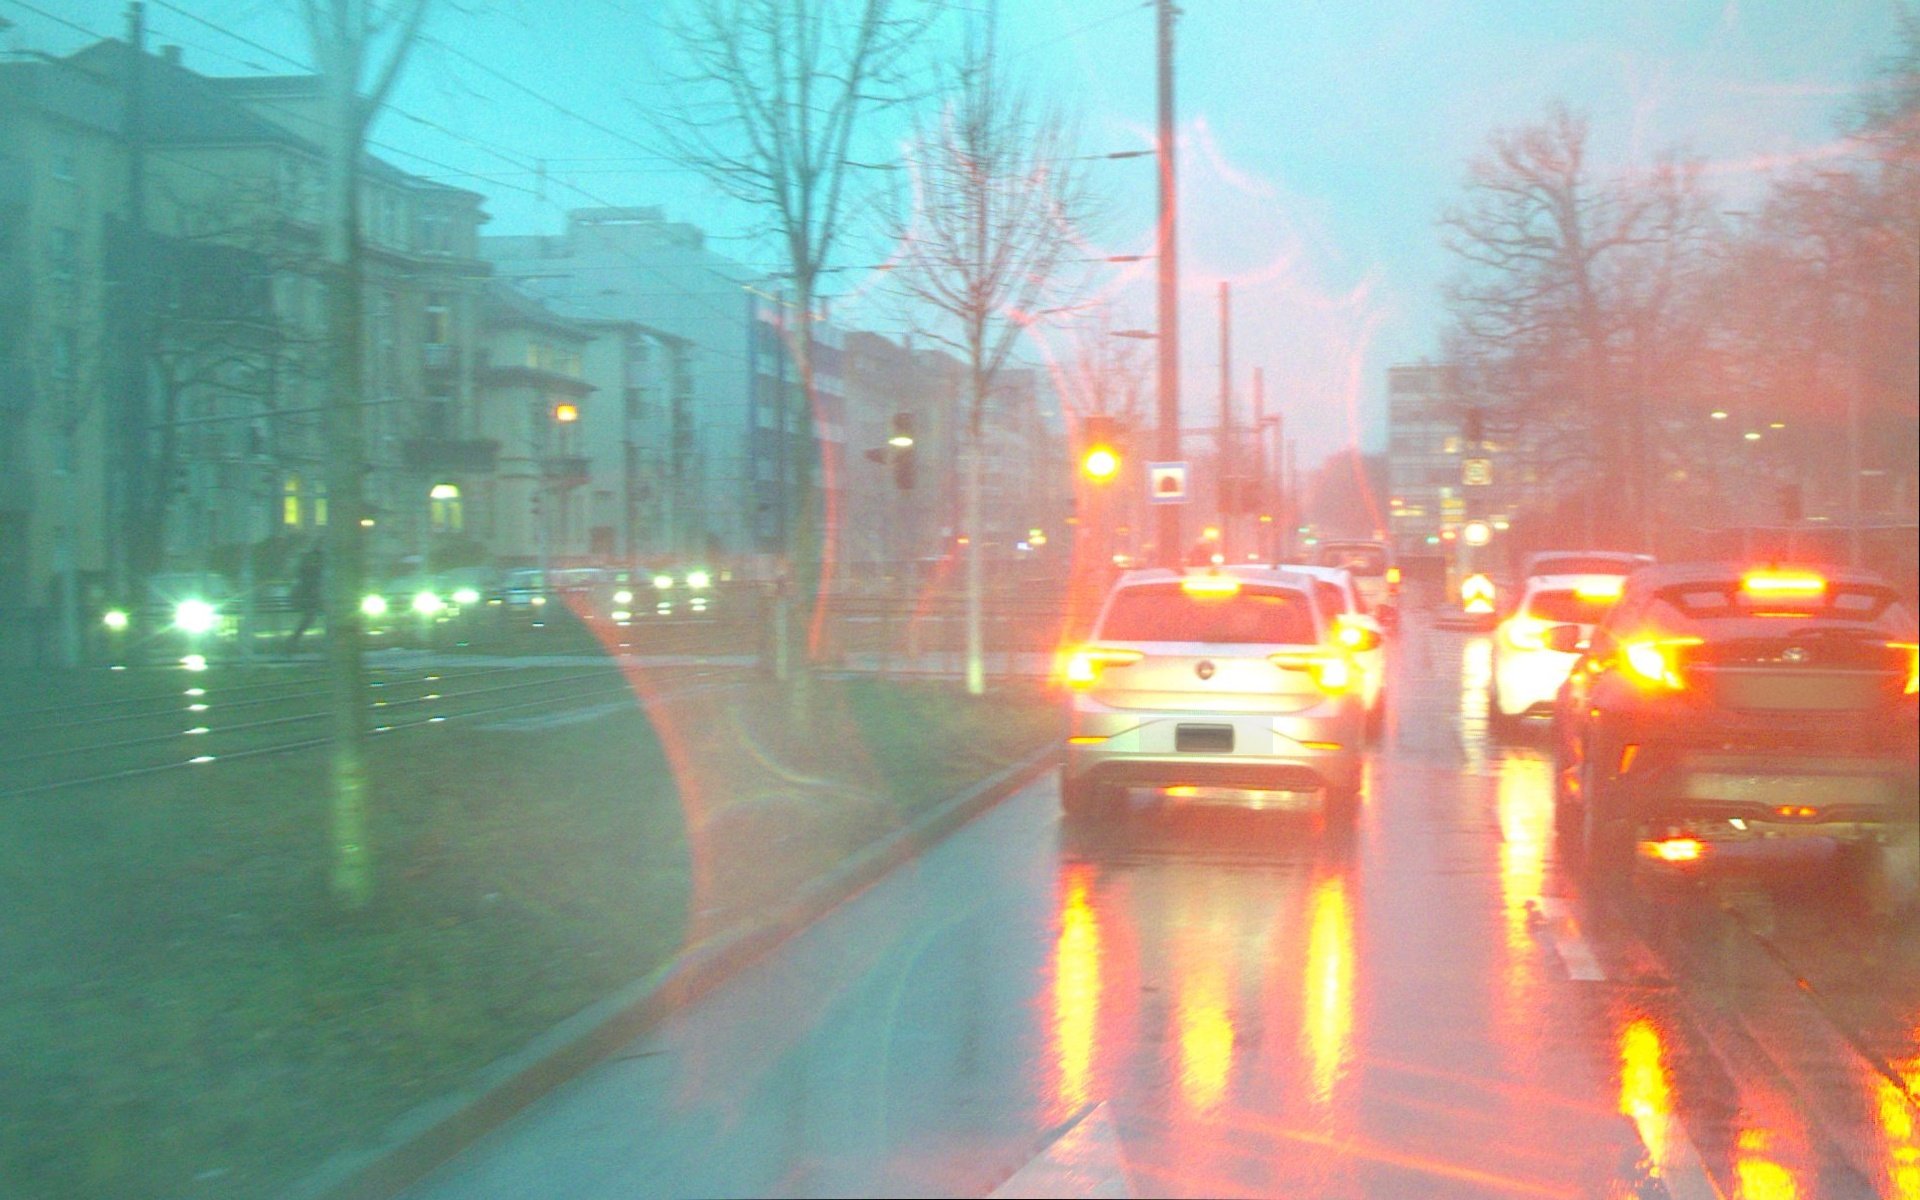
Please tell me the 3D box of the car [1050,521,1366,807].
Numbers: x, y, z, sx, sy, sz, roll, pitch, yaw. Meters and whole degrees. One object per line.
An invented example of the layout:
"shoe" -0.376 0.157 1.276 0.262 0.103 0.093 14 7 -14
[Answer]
"car" 1.526 0.315 20.734 1.693 1.528 3.999 1 1 5

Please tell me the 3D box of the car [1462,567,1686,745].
"car" 5.396 0.453 30.585 1.746 1.428 3.730 2 1 7

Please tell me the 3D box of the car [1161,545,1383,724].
"car" 2.842 0.253 30.504 1.799 1.461 4.584 0 1 7

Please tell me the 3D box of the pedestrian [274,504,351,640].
"pedestrian" -9.674 -0.427 51.338 1.004 2.007 0.962 0 1 -18

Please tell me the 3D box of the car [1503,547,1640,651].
"car" 8.715 -0.039 49.203 1.738 1.415 3.702 0 1 7

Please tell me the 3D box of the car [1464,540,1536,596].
"car" 14.077 -0.857 89.764 1.738 1.415 4.145 0 1 7

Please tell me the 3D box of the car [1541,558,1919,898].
"car" 3.910 0.550 17.223 1.800 1.505 3.894 0 0 7

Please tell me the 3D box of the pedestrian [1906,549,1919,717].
"pedestrian" 11.972 0.388 40.996 0.958 2.007 1.008 0 1 -15

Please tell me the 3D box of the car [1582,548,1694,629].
"car" 12.277 -0.225 62.435 1.738 1.415 3.702 0 1 7

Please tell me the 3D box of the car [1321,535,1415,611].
"car" 7.898 -0.533 66.436 1.738 1.415 4.392 0 1 7

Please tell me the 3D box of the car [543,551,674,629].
"car" -7.597 -0.226 74.668 1.994 1.597 3.999 2 0 6

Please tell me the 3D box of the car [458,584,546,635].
"car" -11.872 0.228 89.324 1.691 1.273 4.148 0 1 1

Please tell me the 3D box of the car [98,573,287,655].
"car" -13.370 0.218 60.122 1.859 1.327 4.314 2 1 7
